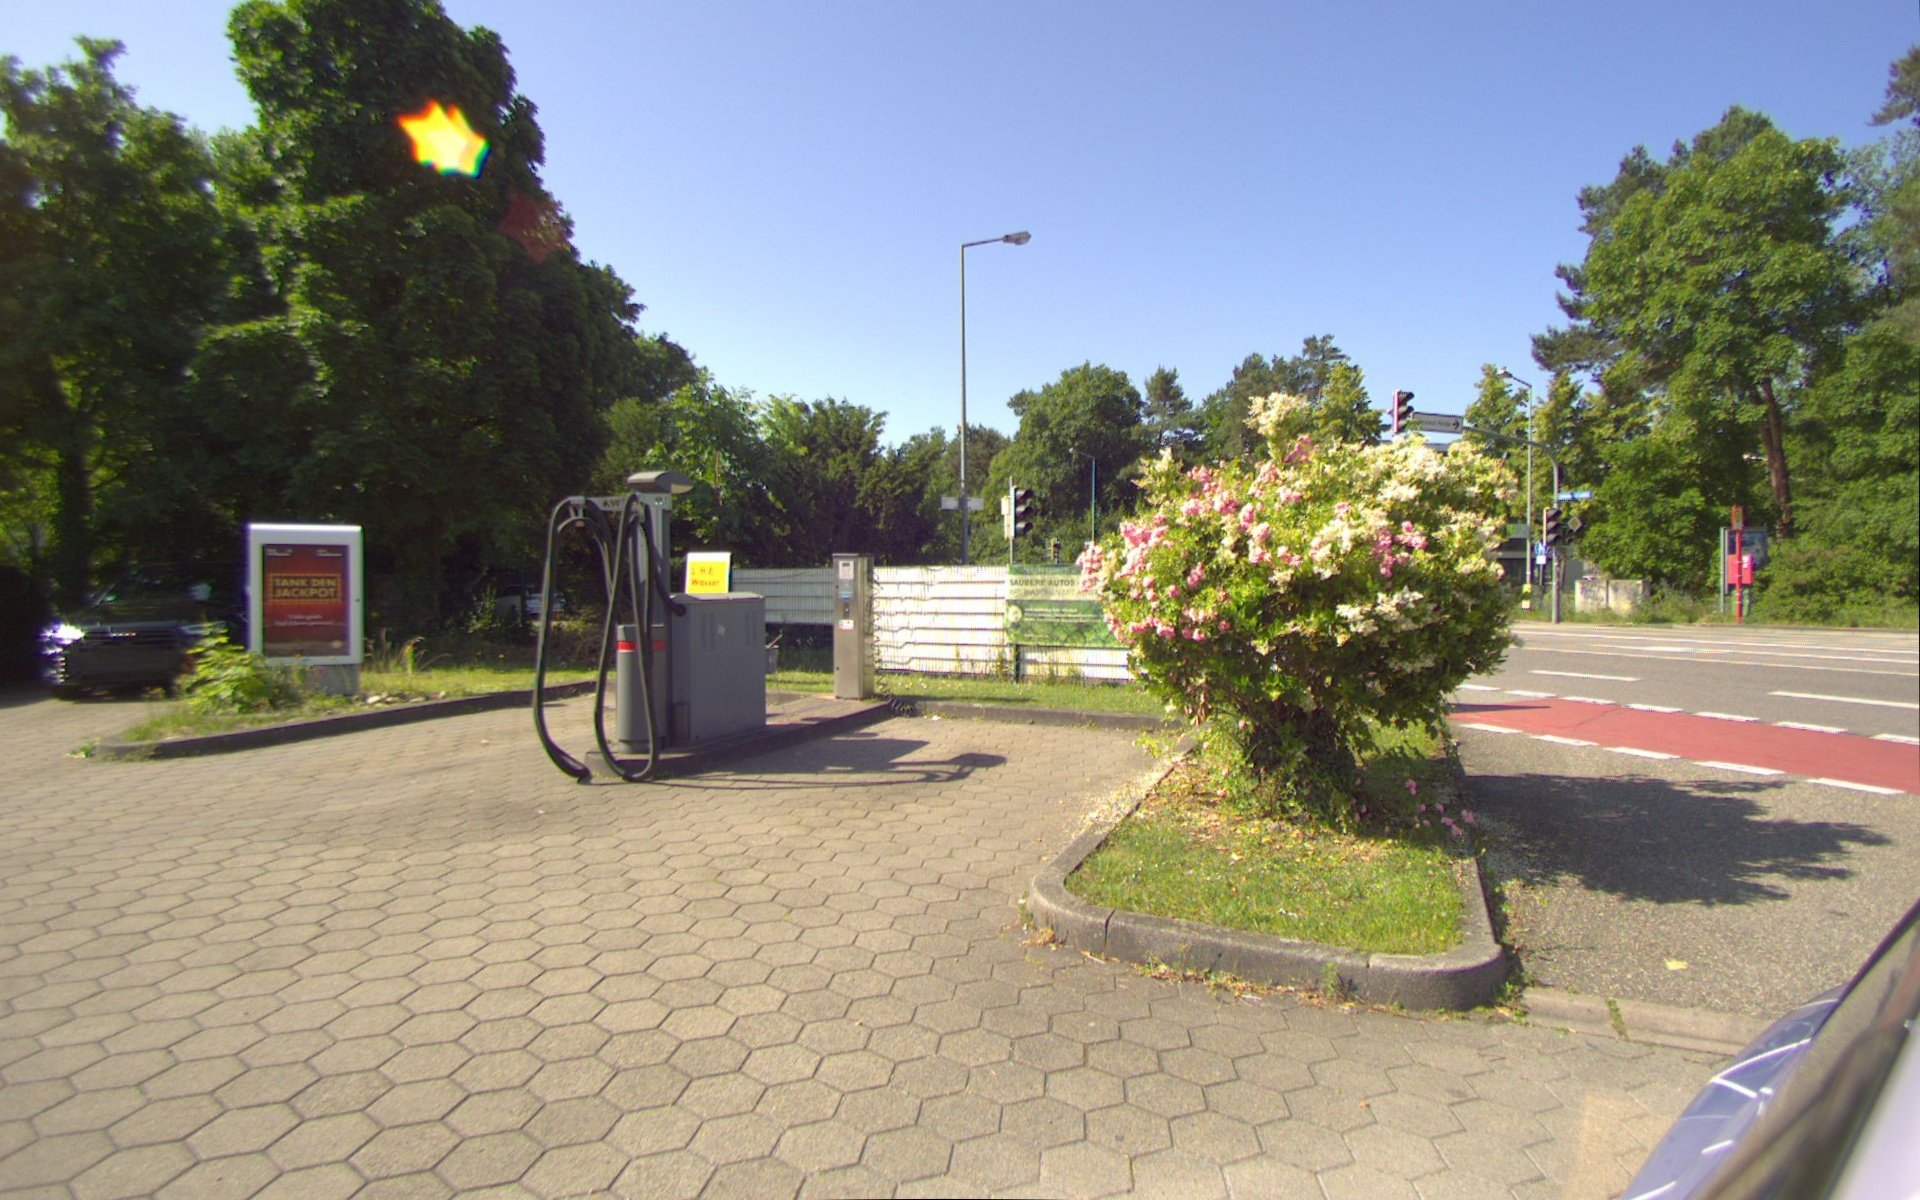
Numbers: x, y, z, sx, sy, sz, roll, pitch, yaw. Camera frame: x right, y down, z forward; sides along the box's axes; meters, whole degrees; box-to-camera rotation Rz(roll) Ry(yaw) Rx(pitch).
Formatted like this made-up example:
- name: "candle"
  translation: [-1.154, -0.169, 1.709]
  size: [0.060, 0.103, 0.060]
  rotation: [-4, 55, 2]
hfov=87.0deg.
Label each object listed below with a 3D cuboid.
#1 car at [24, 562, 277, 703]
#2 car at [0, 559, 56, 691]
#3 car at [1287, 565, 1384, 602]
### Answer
- name: "car"
  translation: [-10.241, 0.309, 13.139]
  size: [1.649, 1.530, 3.947]
  rotation: [-1, 1, -25]
- name: "car"
  translation: [-12.718, 0.340, 12.158]
  size: [1.649, 1.649, 3.947]
  rotation: [-2, 2, -25]
- name: "car"
  translation: [19.081, -0.850, 51.470]
  size: [4.564, 1.800, 1.856]
  rotation: [0, 1, -23]
